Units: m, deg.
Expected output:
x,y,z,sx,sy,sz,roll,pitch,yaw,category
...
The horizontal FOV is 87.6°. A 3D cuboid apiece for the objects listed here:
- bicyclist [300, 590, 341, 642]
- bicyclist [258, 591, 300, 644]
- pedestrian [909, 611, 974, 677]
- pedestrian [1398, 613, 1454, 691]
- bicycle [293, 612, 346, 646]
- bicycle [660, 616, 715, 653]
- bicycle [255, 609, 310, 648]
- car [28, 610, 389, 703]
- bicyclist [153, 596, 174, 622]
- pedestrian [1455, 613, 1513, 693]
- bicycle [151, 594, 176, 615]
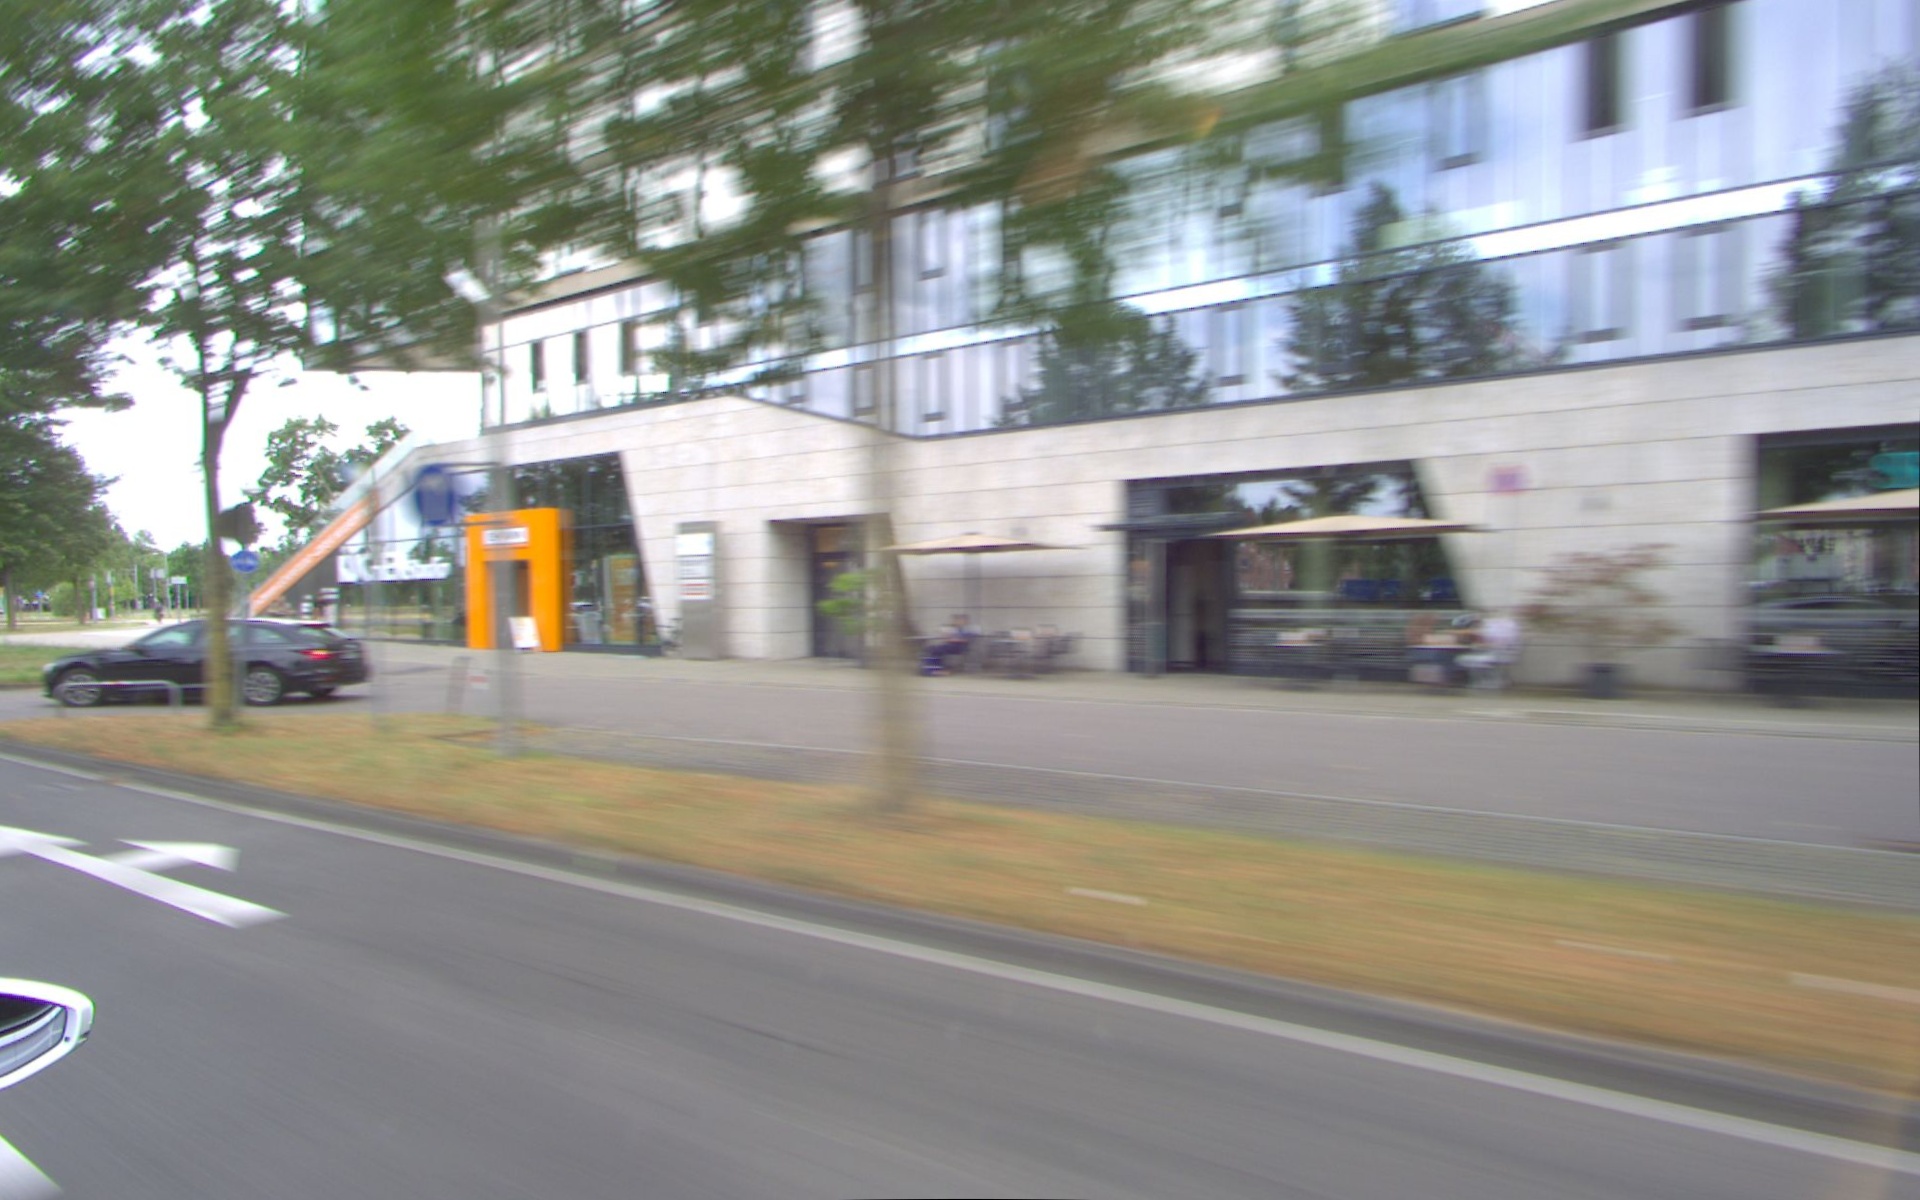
x,y,z,sx,sy,sz,roll,pitch,yaw,category
-20.578,0.510,32.232,0.975,1.604,0.723,0,2,32,bicyclist
-21.116,0.532,31.061,0.975,1.603,0.723,0,1,32,bicyclist
-0.366,0.856,19.921,0.938,1.245,0.894,0,1,37,pedestrian
7.539,0.824,16.203,0.748,1.208,0.717,0,1,31,pedestrian
-20.668,0.919,32.316,1.978,1.056,0.672,0,1,32,bicycle
-7.115,0.884,26.110,1.472,0.922,0.517,0,1,33,bicycle
-20.997,0.863,31.018,1.978,1.158,0.672,0,1,32,bicycle
-12.984,0.942,17.564,4.776,1.495,1.947,0,0,-3,car
-57.260,0.627,71.984,1.157,1.813,0.865,0,1,31,bicyclist
8.241,0.809,15.744,0.748,1.208,0.717,0,1,34,pedestrian
-57.271,0.331,72.009,1.978,1.525,0.704,0,-2,31,bicycle
